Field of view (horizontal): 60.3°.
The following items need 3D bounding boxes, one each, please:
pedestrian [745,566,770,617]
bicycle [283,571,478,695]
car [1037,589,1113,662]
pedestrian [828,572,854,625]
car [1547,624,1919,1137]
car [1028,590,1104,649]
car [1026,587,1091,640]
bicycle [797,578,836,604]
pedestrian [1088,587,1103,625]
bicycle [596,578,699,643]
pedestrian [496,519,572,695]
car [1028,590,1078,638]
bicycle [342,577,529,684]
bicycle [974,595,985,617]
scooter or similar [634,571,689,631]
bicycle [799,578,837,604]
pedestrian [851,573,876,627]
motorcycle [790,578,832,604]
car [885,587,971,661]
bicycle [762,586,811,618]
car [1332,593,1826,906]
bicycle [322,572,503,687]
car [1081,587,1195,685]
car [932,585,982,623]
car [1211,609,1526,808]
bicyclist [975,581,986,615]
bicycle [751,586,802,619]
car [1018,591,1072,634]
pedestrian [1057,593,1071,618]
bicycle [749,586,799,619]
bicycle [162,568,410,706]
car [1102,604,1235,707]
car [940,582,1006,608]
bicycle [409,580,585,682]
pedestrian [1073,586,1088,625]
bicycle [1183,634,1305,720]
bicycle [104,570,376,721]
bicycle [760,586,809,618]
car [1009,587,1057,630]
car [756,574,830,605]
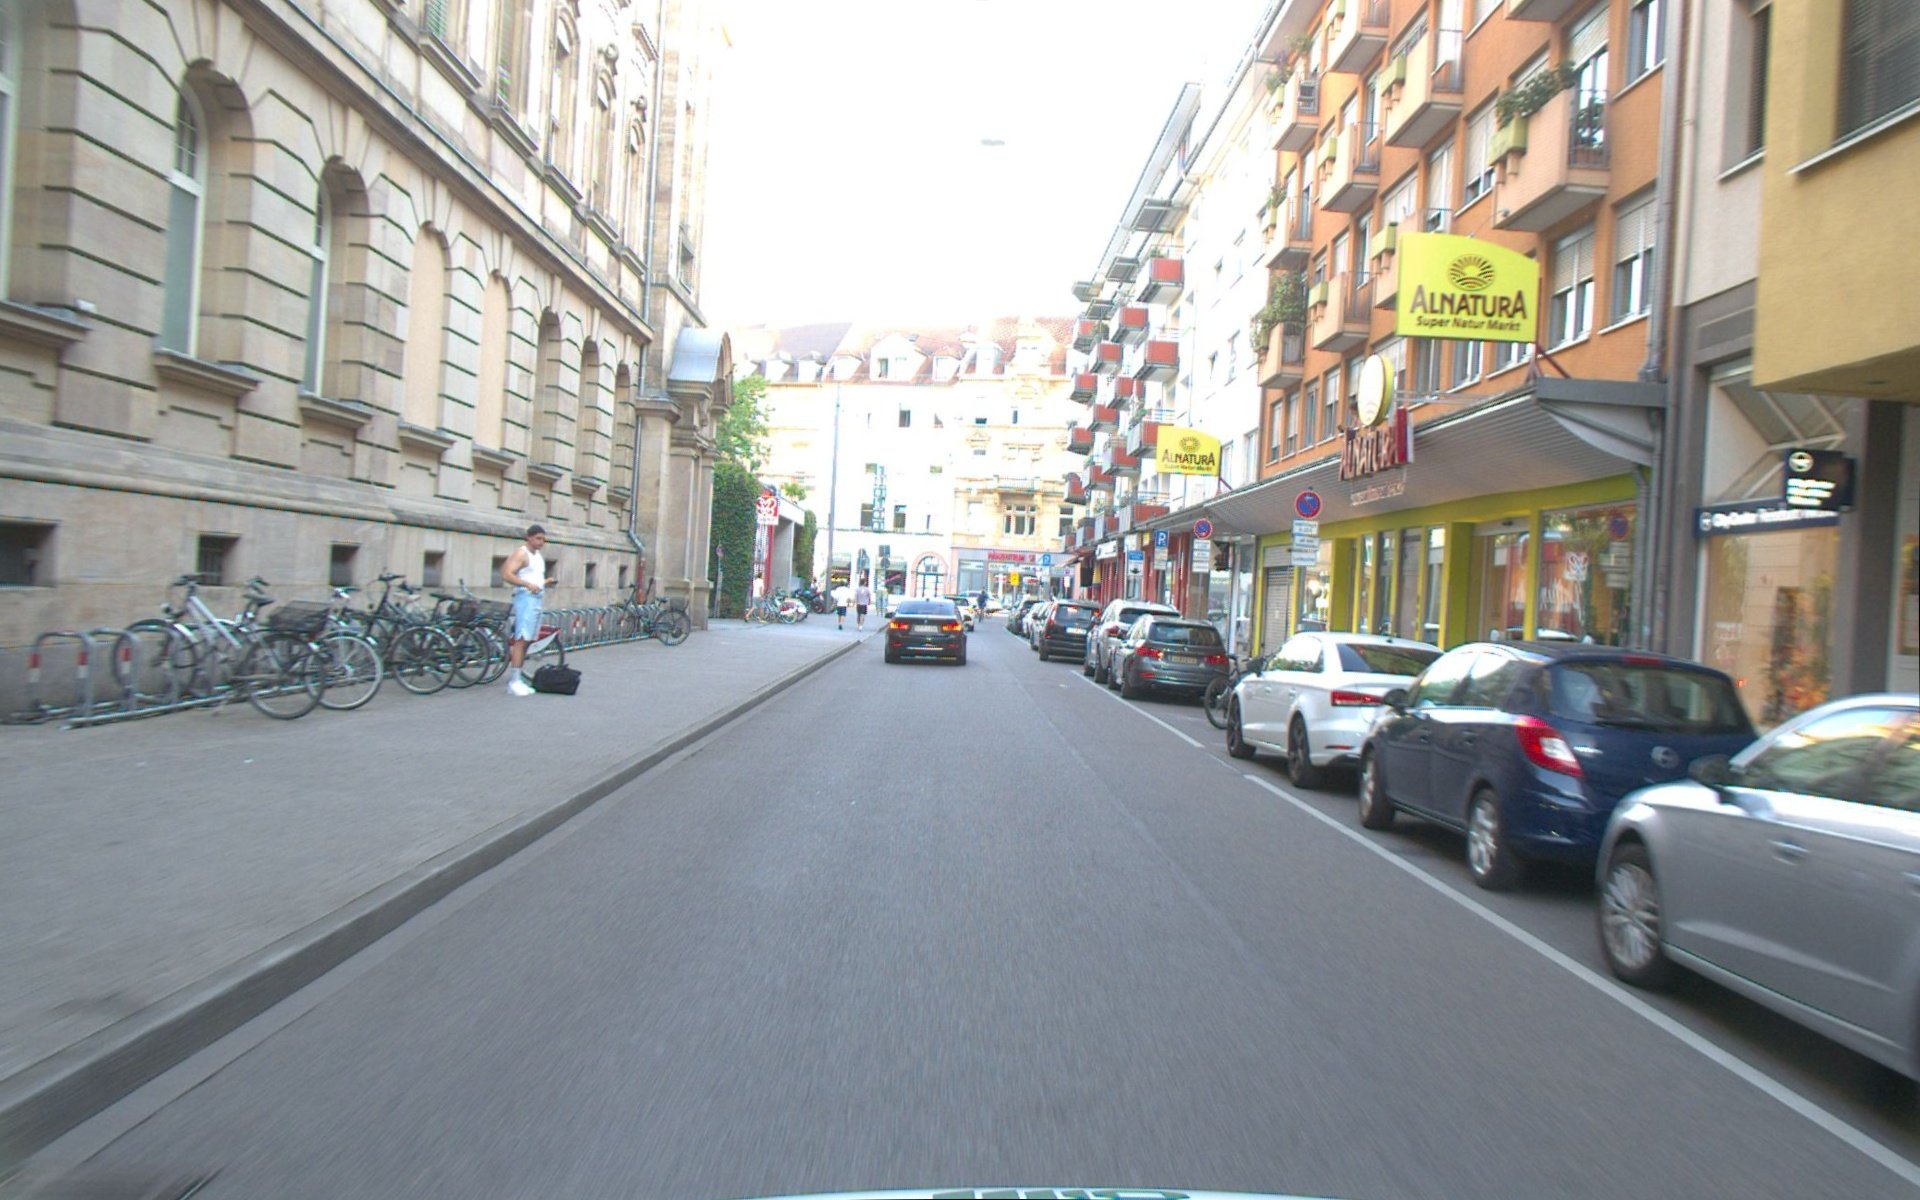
[{"bbox_3d":[-7.240,-0.296,59.185,0.702,1.785,0.848,3,0,-2],"label":"pedestrian"},{"bbox_3d":[-5.990,0.340,17.151,1.760,1.127,0.499,4,-1,-7],"label":"bicycle"},{"bbox_3d":[3.022,0.630,43.492,1.757,1.637,4.489,5,1,4],"label":"car"},{"bbox_3d":[-4.346,-0.056,60.601,0.726,1.843,1.009,5,0,-1],"label":"pedestrian"},{"bbox_3d":[3.838,0.970,6.148,1.652,1.478,4.498,5,1,1],"label":"car"},{"bbox_3d":[3.074,0.546,48.868,1.702,1.439,4.681,5,1,-2],"label":"car"},{"bbox_3d":[3.345,0.427,56.734,1.678,1.538,4.650,5,1,-2],"label":"car"},{"bbox_3d":[-7.008,-0.449,80.812,1.757,1.126,0.500,5,0,2],"label":"bicycle"},{"bbox_3d":[6.001,0.267,73.322,0.634,1.690,0.794,0,0,1],"label":"pedestrian"},{"bbox_3d":[-6.246,0.206,33.068,1.906,1.079,0.617,6,-1,-16],"label":"bicycle"},{"bbox_3d":[-4.749,0.071,18.484,0.577,1.883,0.753,5,0,-6],"label":"pedestrian"},{"bbox_3d":[3.416,0.484,61.270,1.574,1.538,4.049,5,1,1],"label":"car"},{"bbox_3d":[-6.053,0.348,19.165,1.900,1.080,0.619,5,0,-7],"label":"bicycle"},{"bbox_3d":[1.071,0.305,90.081,0.525,1.127,1.800,4,0,1],"label":"bicycle"},{"bbox_3d":[-6.653,0.016,36.853,1.113,1.254,0.495,4,0,-13],"label":"scooter or similar"},{"bbox_3d":[-6.993,-0.448,81.562,1.760,1.126,0.499,4,0,-6],"label":"bicycle"},{"bbox_3d":[-3.556,-0.011,61.091,0.729,1.926,1.050,4,1,0],"label":"pedestrian"},{"bbox_3d":[-7.106,-0.415,78.784,1.765,1.082,0.764,4,0,25],"label":"motorcycle"},{"bbox_3d":[-0.675,0.491,37.167,1.729,1.398,4.790,4,1,0],"label":"car"},{"bbox_3d":[-6.772,0.080,64.639,1.757,1.127,0.500,4,0,2],"label":"bicycle"},{"bbox_3d":[3.906,0.824,11.262,1.586,1.542,4.172,5,1,-2],"label":"car"},{"bbox_3d":[-6.051,0.329,18.350,1.760,1.127,0.499,4,-1,-7],"label":"bicycle"},{"bbox_3d":[3.599,0.670,34.251,1.717,1.696,4.756,5,1,0],"label":"car"},{"bbox_3d":[-0.089,0.143,70.304,1.838,1.498,4.002,3,1,3],"label":"car"},{"bbox_3d":[3.844,0.943,16.434,1.658,1.435,4.637,5,1,-3],"label":"car"},{"bbox_3d":[1.101,-0.114,90.057,0.513,1.787,0.620,3,0,1],"label":"bicyclist"},{"bbox_3d":[-6.813,0.102,61.484,1.758,1.127,0.500,3,0,-1],"label":"bicycle"},{"bbox_3d":[3.390,0.473,66.447,1.665,1.477,4.457,5,1,-2],"label":"car"},{"bbox_3d":[5.451,0.286,86.705,0.672,1.309,0.609,2,0,9],"label":"pedestrian"},{"bbox_3d":[-6.942,0.093,61.829,1.758,1.127,0.500,3,0,-2],"label":"bicycle"},{"bbox_3d":[-6.056,0.328,14.931,1.900,1.080,0.619,5,0,-7],"label":"bicycle"},{"bbox_3d":[3.594,0.908,29.284,1.657,1.439,4.756,5,1,0],"label":"car"},{"bbox_3d":[0.904,-0.340,117.008,4.263,1.589,1.868,3,0,22],"label":"car"},{"bbox_3d":[-5.641,0.372,20.212,1.899,1.080,0.619,5,-1,-3],"label":"bicycle"},{"bbox_3d":[5.335,0.237,73.327,0.634,1.690,0.655,0,0,1],"label":"pedestrian"},{"bbox_3d":[3.864,1.052,22.438,1.723,1.073,0.650,4,0,-42],"label":"bicycle"},{"bbox_3d":[-5.929,0.370,13.685,1.898,1.080,0.619,4,0,-2],"label":"bicycle"},{"bbox_3d":[-6.782,0.080,64.006,1.757,1.127,0.500,4,0,2],"label":"bicycle"},{"bbox_3d":[3.180,0.344,72.982,1.729,1.670,4.790,5,1,0],"label":"car"},{"bbox_3d":[-9.188,-0.581,91.032,3.913,1.527,1.888,2,1,-9],"label":"car"}]
